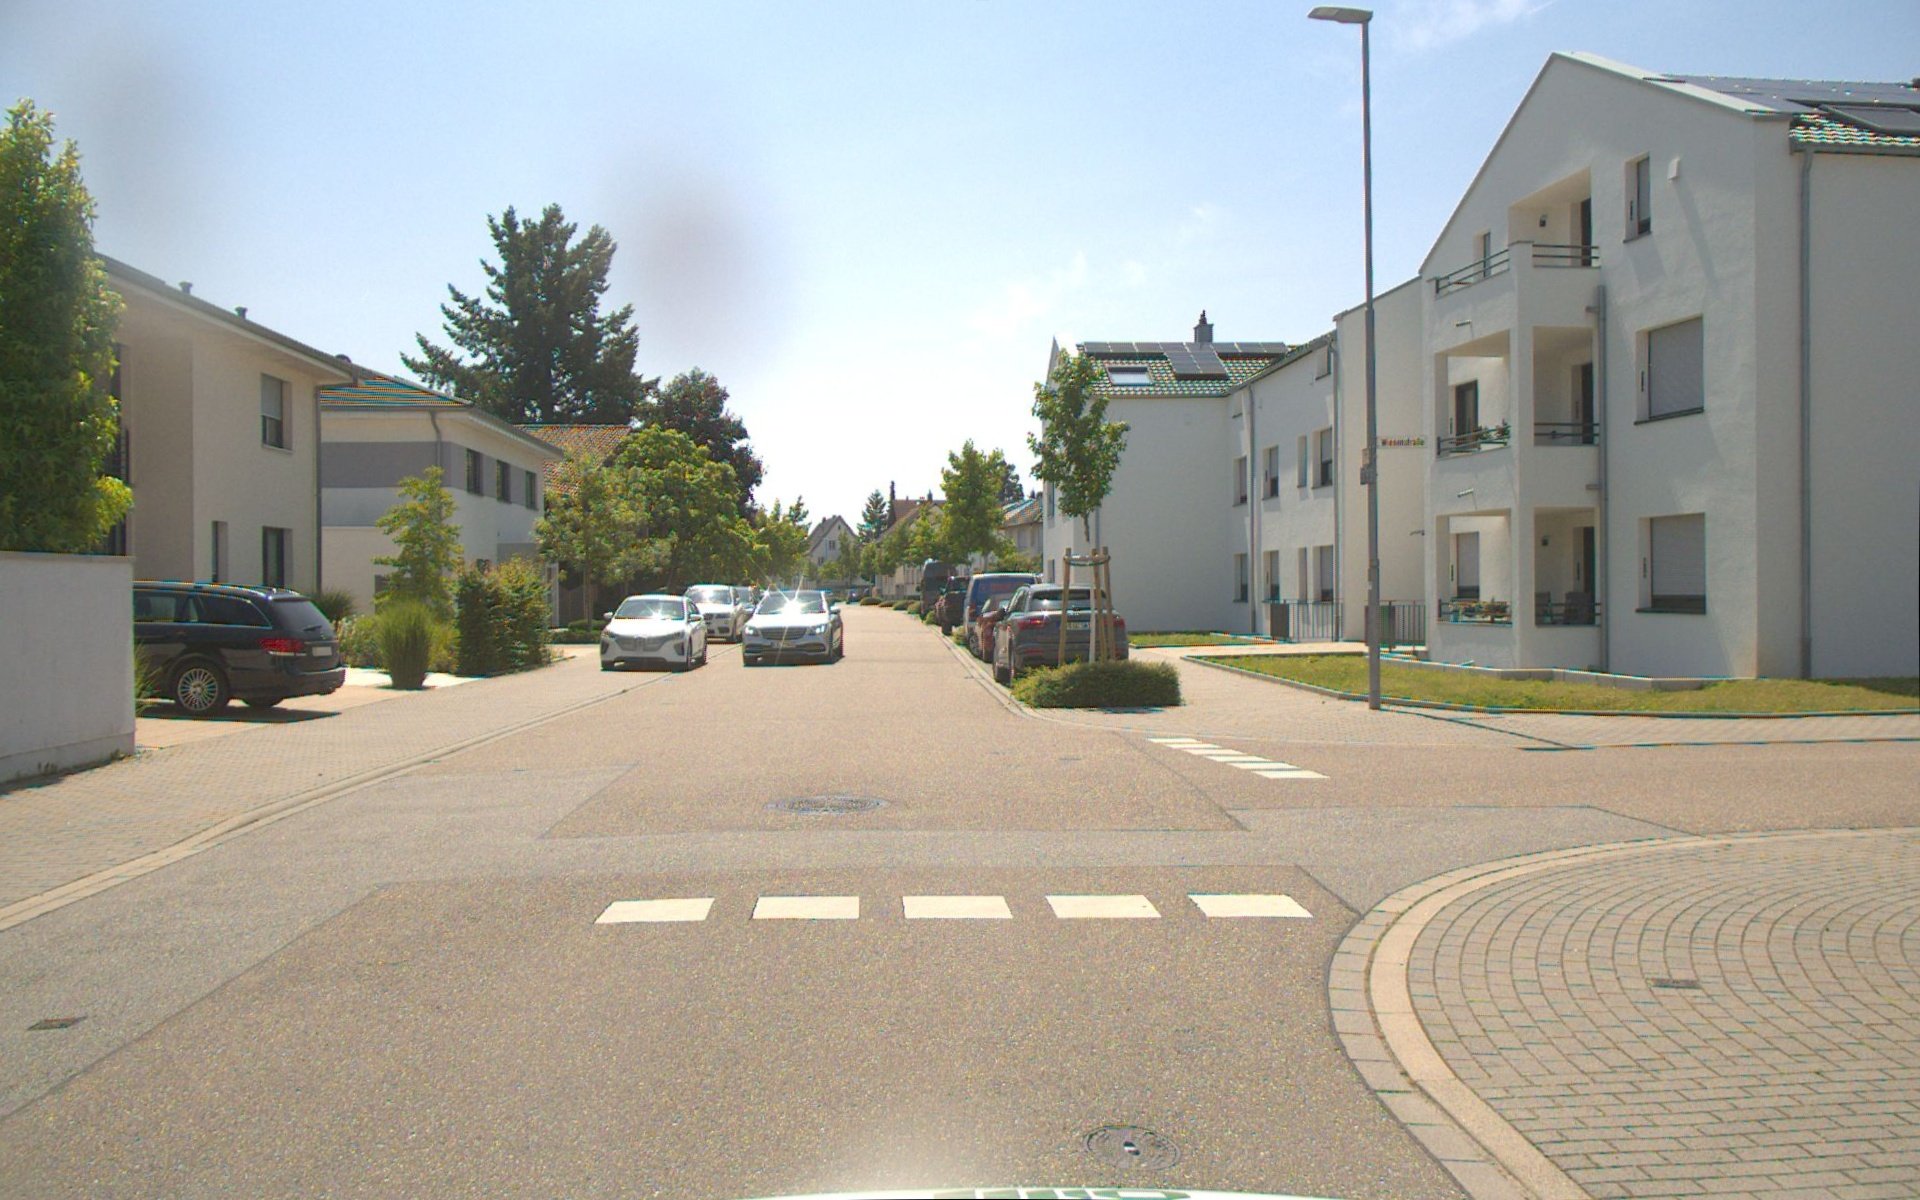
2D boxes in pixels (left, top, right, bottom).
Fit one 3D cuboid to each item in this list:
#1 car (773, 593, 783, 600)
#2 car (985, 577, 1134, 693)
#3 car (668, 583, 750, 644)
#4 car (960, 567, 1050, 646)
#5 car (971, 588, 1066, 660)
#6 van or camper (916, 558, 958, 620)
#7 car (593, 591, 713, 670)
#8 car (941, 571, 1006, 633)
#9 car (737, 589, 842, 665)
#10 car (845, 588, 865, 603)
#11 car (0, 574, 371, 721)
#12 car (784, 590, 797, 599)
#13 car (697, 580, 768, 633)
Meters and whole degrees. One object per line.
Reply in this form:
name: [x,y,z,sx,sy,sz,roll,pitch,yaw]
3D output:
car: [-26.865,-0.499,244.450,1.167,1.089,3.044,-1,0,-11]
car: [1.490,0.488,26.223,1.738,1.623,4.275,-2,1,-5]
car: [-7.440,0.362,49.339,1.888,1.716,4.496,-1,0,-2]
car: [1.094,0.146,42.787,2.057,1.915,4.841,-1,0,-1]
car: [1.226,0.474,36.245,1.647,1.467,4.023,-1,0,-5]
van or camper: [-1.168,-0.546,81.970,1.954,2.993,3.998,0,0,-3]
car: [-6.308,0.575,34.438,1.815,1.514,4.383,-1,0,-2]
car: [0.409,0.045,57.109,1.953,1.981,5.212,-2,0,-2]
car: [-3.618,0.524,35.755,1.815,1.504,4.699,-1,0,-1]
car: [-11.138,-0.512,175.715,1.953,1.601,3.998,-1,0,-2]
car: [-9.695,0.542,20.079,4.337,1.499,1.851,3,0,1]
car: [-24.131,-0.772,235.691,1.632,1.272,3.924,-1,0,-9]
car: [-7.619,0.199,55.759,1.953,1.709,4.213,-1,0,-2]
